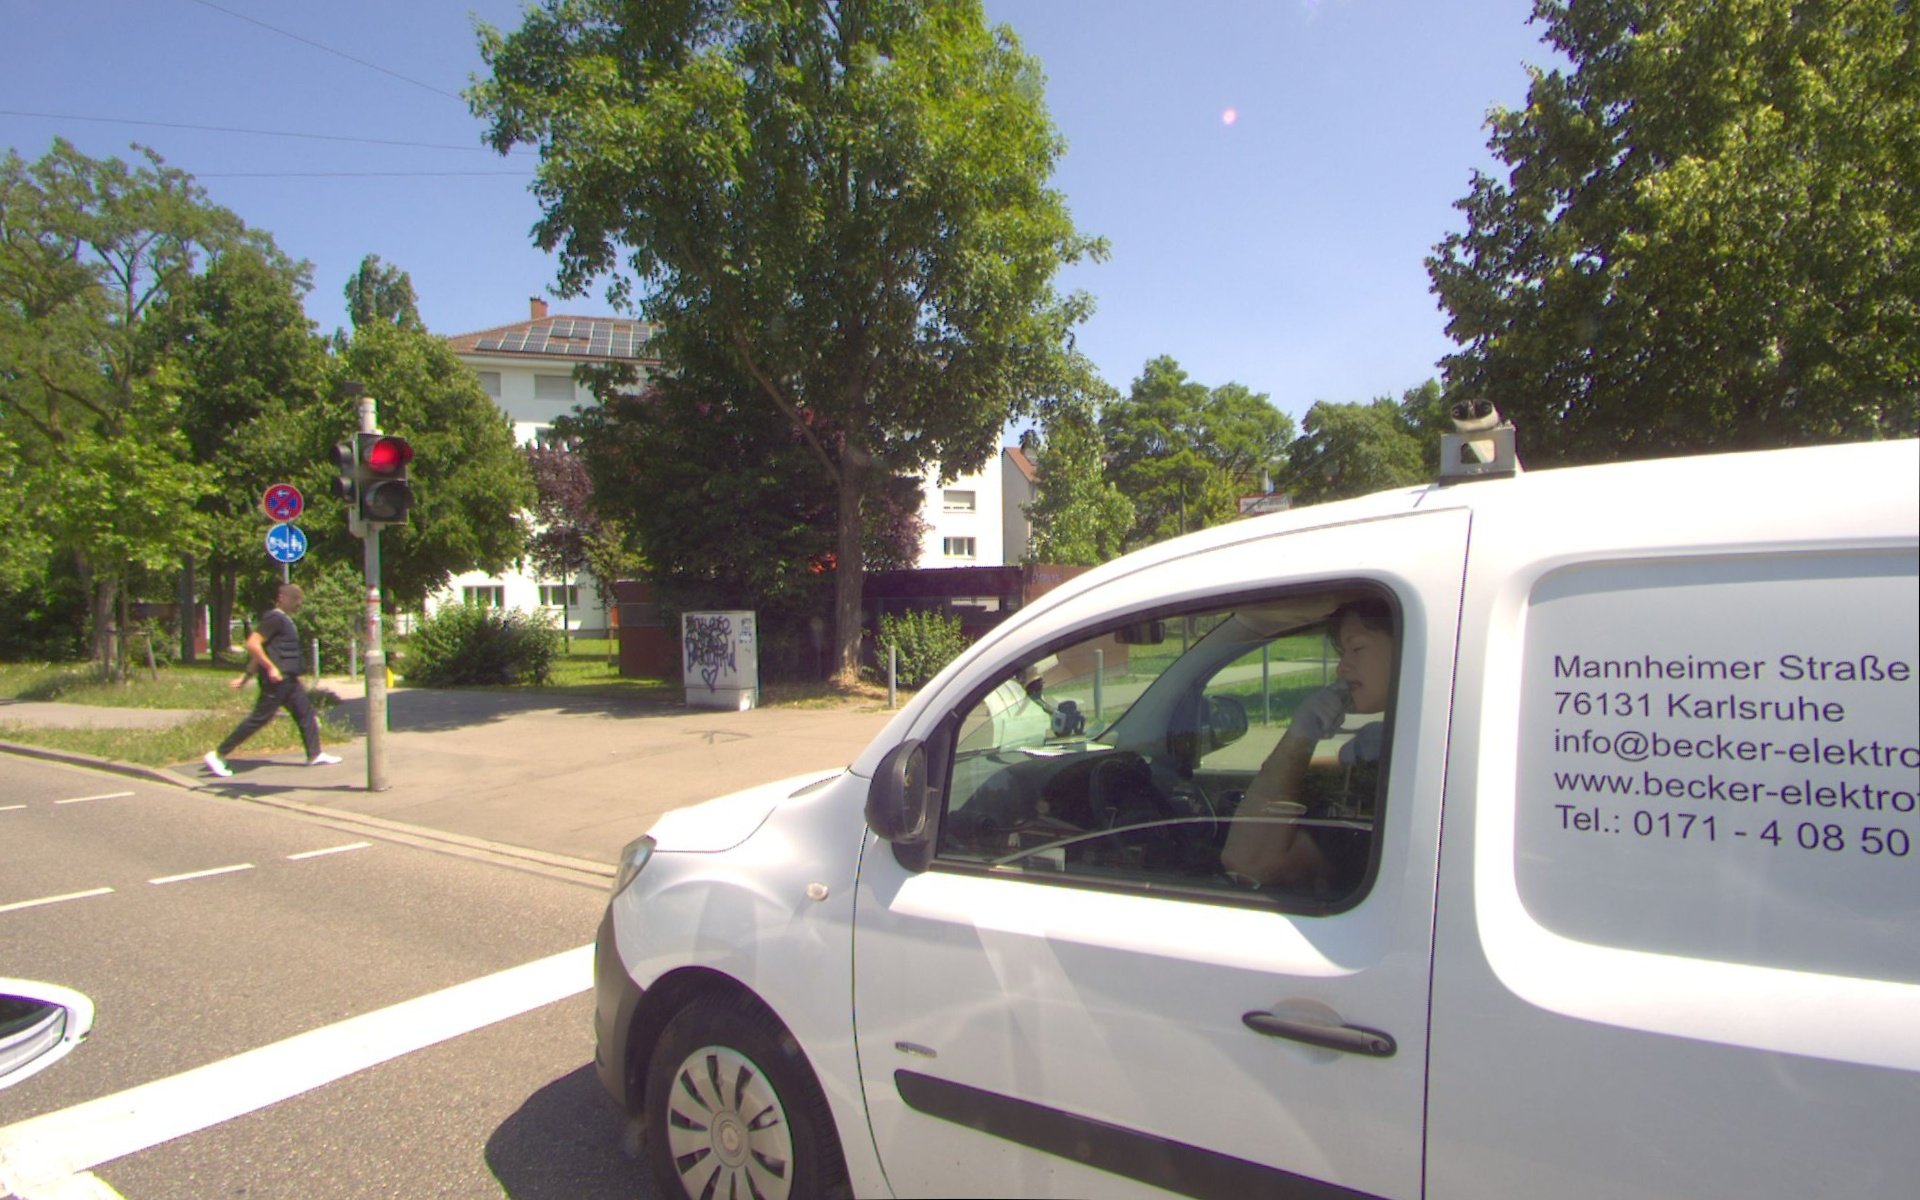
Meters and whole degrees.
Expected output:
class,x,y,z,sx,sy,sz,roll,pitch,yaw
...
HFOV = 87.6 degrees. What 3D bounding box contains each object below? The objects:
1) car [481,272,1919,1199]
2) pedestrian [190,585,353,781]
class,x,y,z,sx,sy,sz,roll,pitch,yaw
car,1.118,0.570,2.302,4.384,1.850,1.990,-1,0,32
pedestrian,-6.812,0.778,9.984,1.170,1.801,0.836,-2,1,-27
